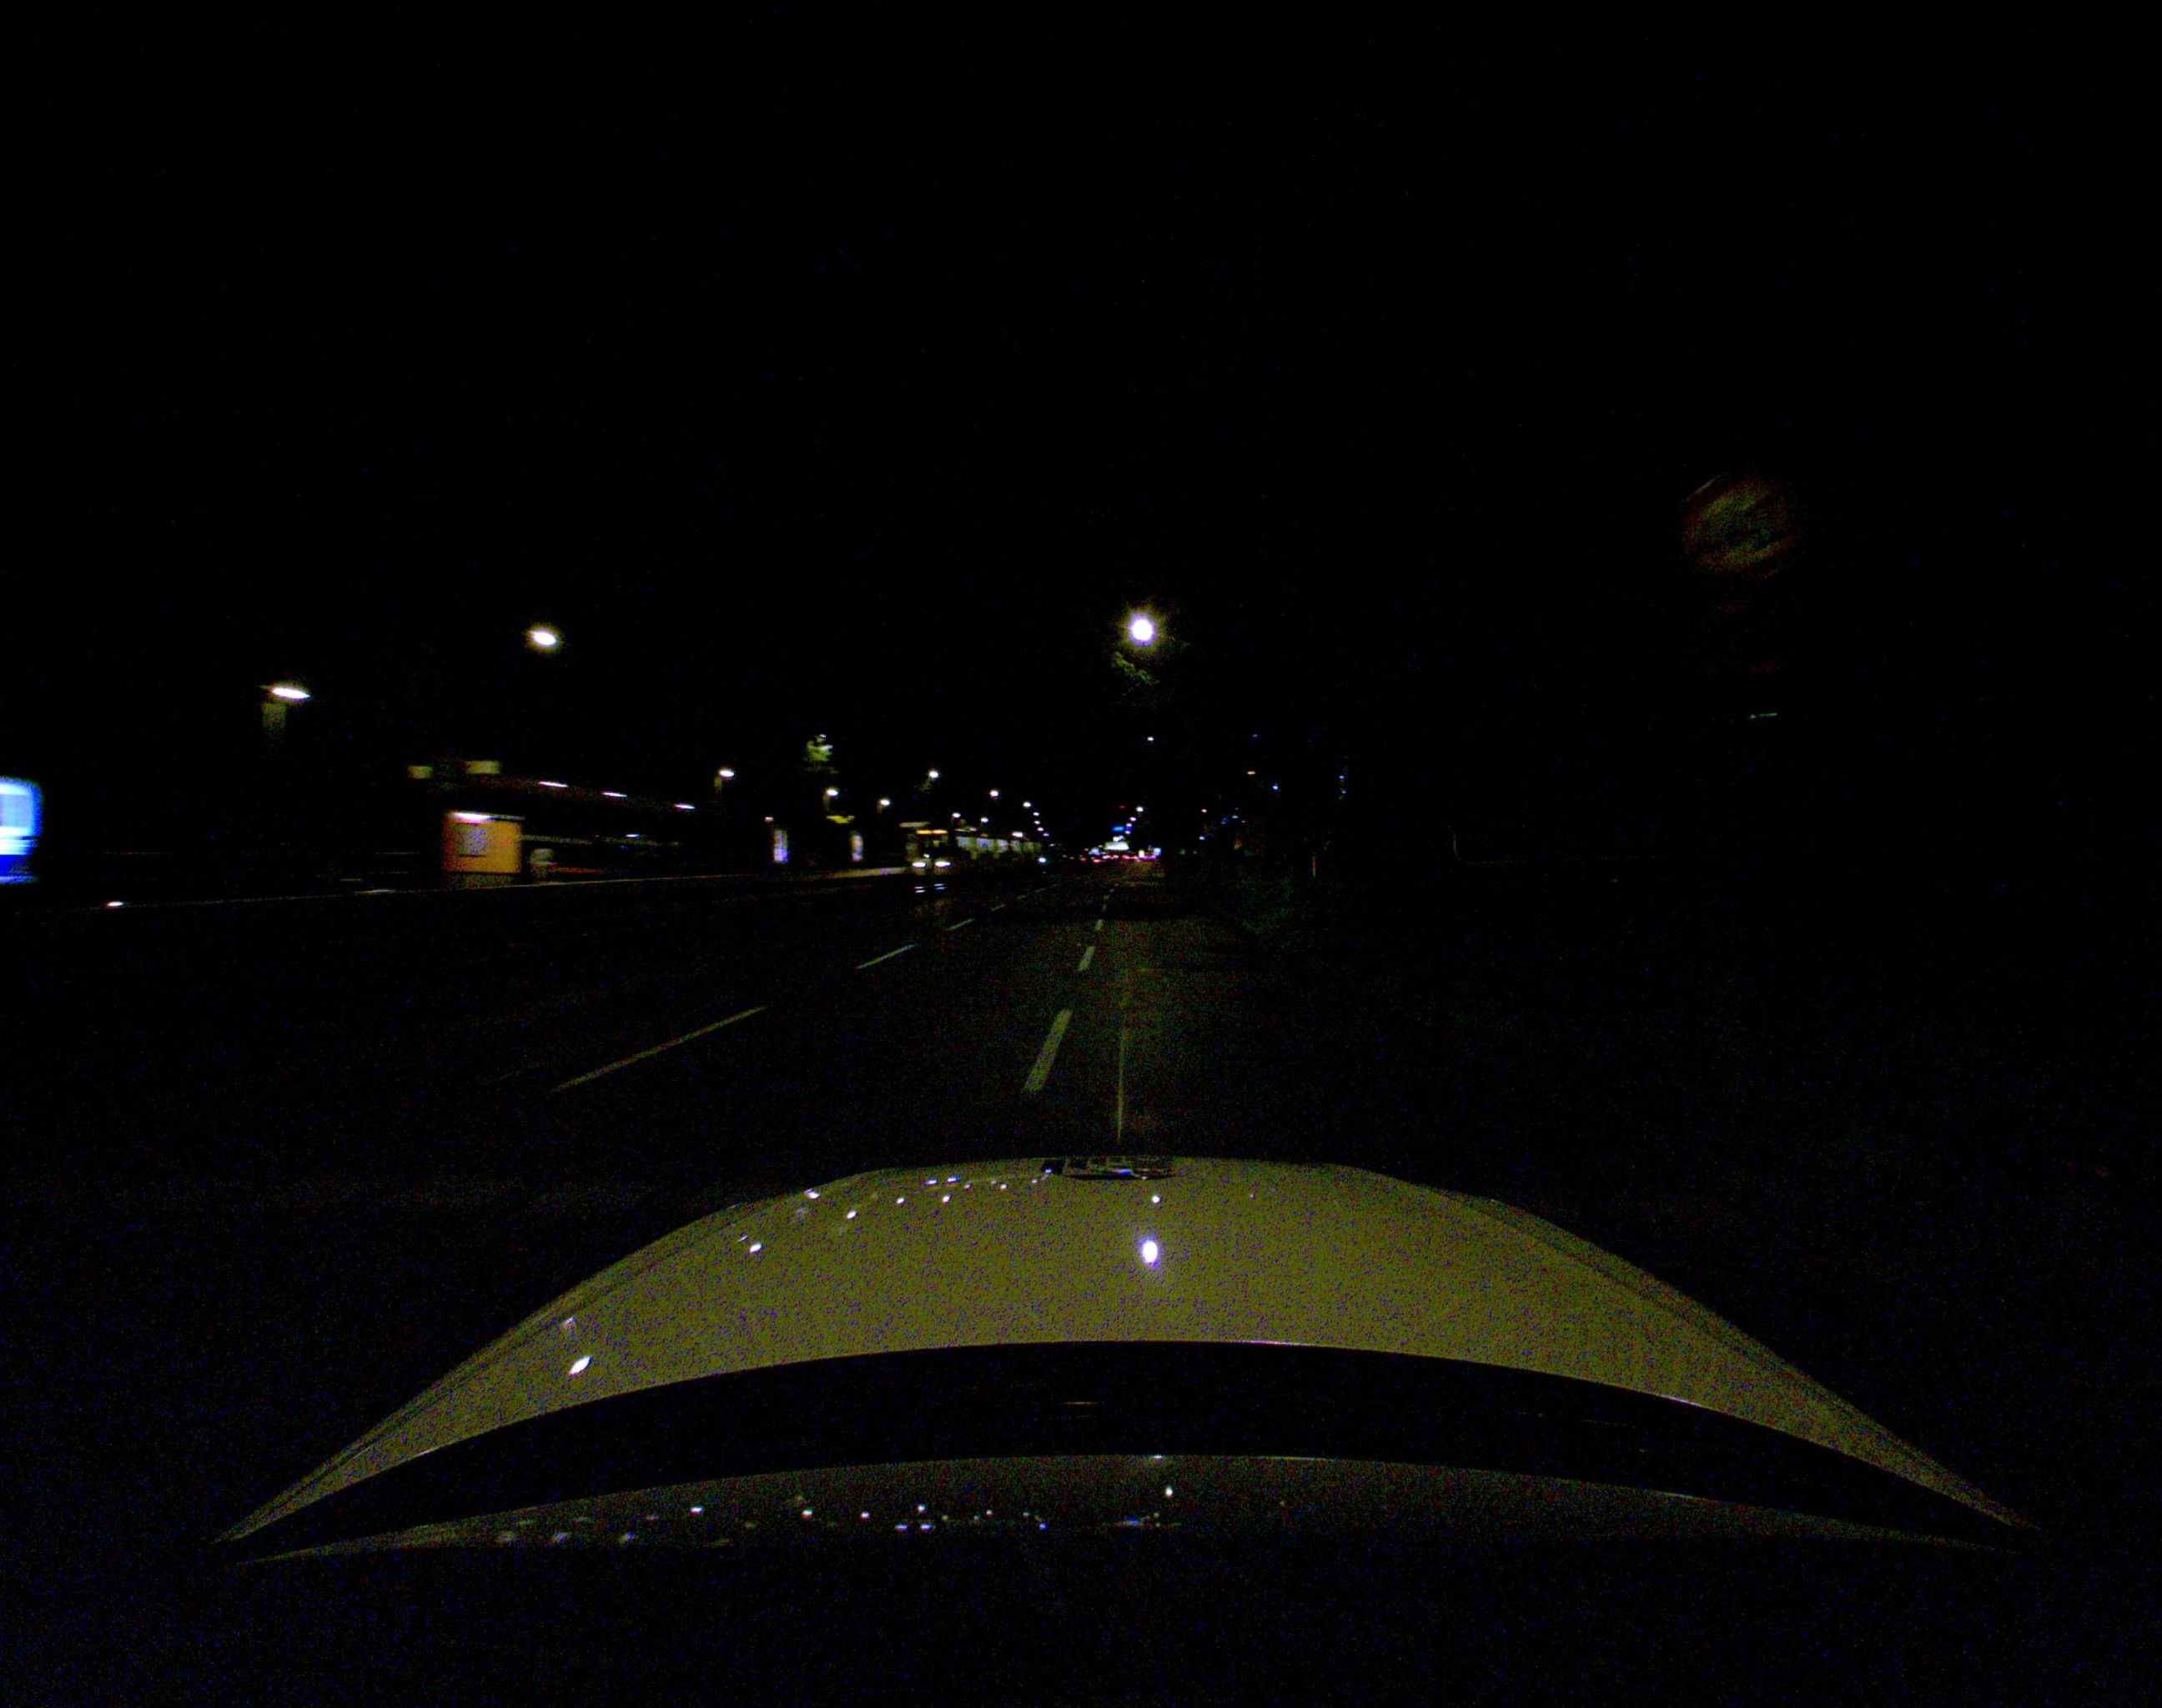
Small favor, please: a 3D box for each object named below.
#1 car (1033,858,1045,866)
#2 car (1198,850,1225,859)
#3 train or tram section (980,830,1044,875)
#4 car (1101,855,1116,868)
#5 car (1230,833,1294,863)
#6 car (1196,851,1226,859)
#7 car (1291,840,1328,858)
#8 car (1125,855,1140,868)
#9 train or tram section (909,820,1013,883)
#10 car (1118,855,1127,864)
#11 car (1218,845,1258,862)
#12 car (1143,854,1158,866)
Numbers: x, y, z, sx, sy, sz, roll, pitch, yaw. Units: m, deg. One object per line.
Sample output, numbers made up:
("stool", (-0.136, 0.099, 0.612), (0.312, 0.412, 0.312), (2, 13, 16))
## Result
("car", (-8.212, 1.623, 160.035), (1.652, 1.516, 3.917), (-1, -1, 6))
("car", (21.536, 0.032, 134.122), (3.992, 1.424, 1.900), (-1, 0, -14))
("train or tram section", (-6.302, -0.104, 78.816), (2.745, 3.827, 18.699), (-1, 0, 6))
("car", (4.393, 1.265, 130.037), (2.253, 2.014, 4.831), (-1, -1, 4))
("car", (19.127, -0.655, 86.051), (6.024, 2.529, 2.274), (-6, 1, -13))
("car", (21.813, 0.175, 136.834), (4.646, 1.264, 1.934), (-1, 1, -21))
("car", (24.103, -0.537, 86.150), (1.810, 1.712, 3.943), (-4, 0, -18))
("car", (8.575, 1.218, 134.904), (2.345, 2.129, 4.831), (-1, -1, 4))
("train or tram section", (-8.219, -0.109, 59.820), (2.724, 3.846, 19.395), (-1, 0, 6))
("car", (8.892, 1.253, 175.716), (1.878, 1.860, 4.004), (-1, -1, 4))
("car", (18.501, -0.051, 96.013), (4.198, 1.663, 1.956), (-4, 0, -7))
("car", (12.107, 1.035, 142.347), (2.416, 2.113, 4.831), (-1, -1, 4))
